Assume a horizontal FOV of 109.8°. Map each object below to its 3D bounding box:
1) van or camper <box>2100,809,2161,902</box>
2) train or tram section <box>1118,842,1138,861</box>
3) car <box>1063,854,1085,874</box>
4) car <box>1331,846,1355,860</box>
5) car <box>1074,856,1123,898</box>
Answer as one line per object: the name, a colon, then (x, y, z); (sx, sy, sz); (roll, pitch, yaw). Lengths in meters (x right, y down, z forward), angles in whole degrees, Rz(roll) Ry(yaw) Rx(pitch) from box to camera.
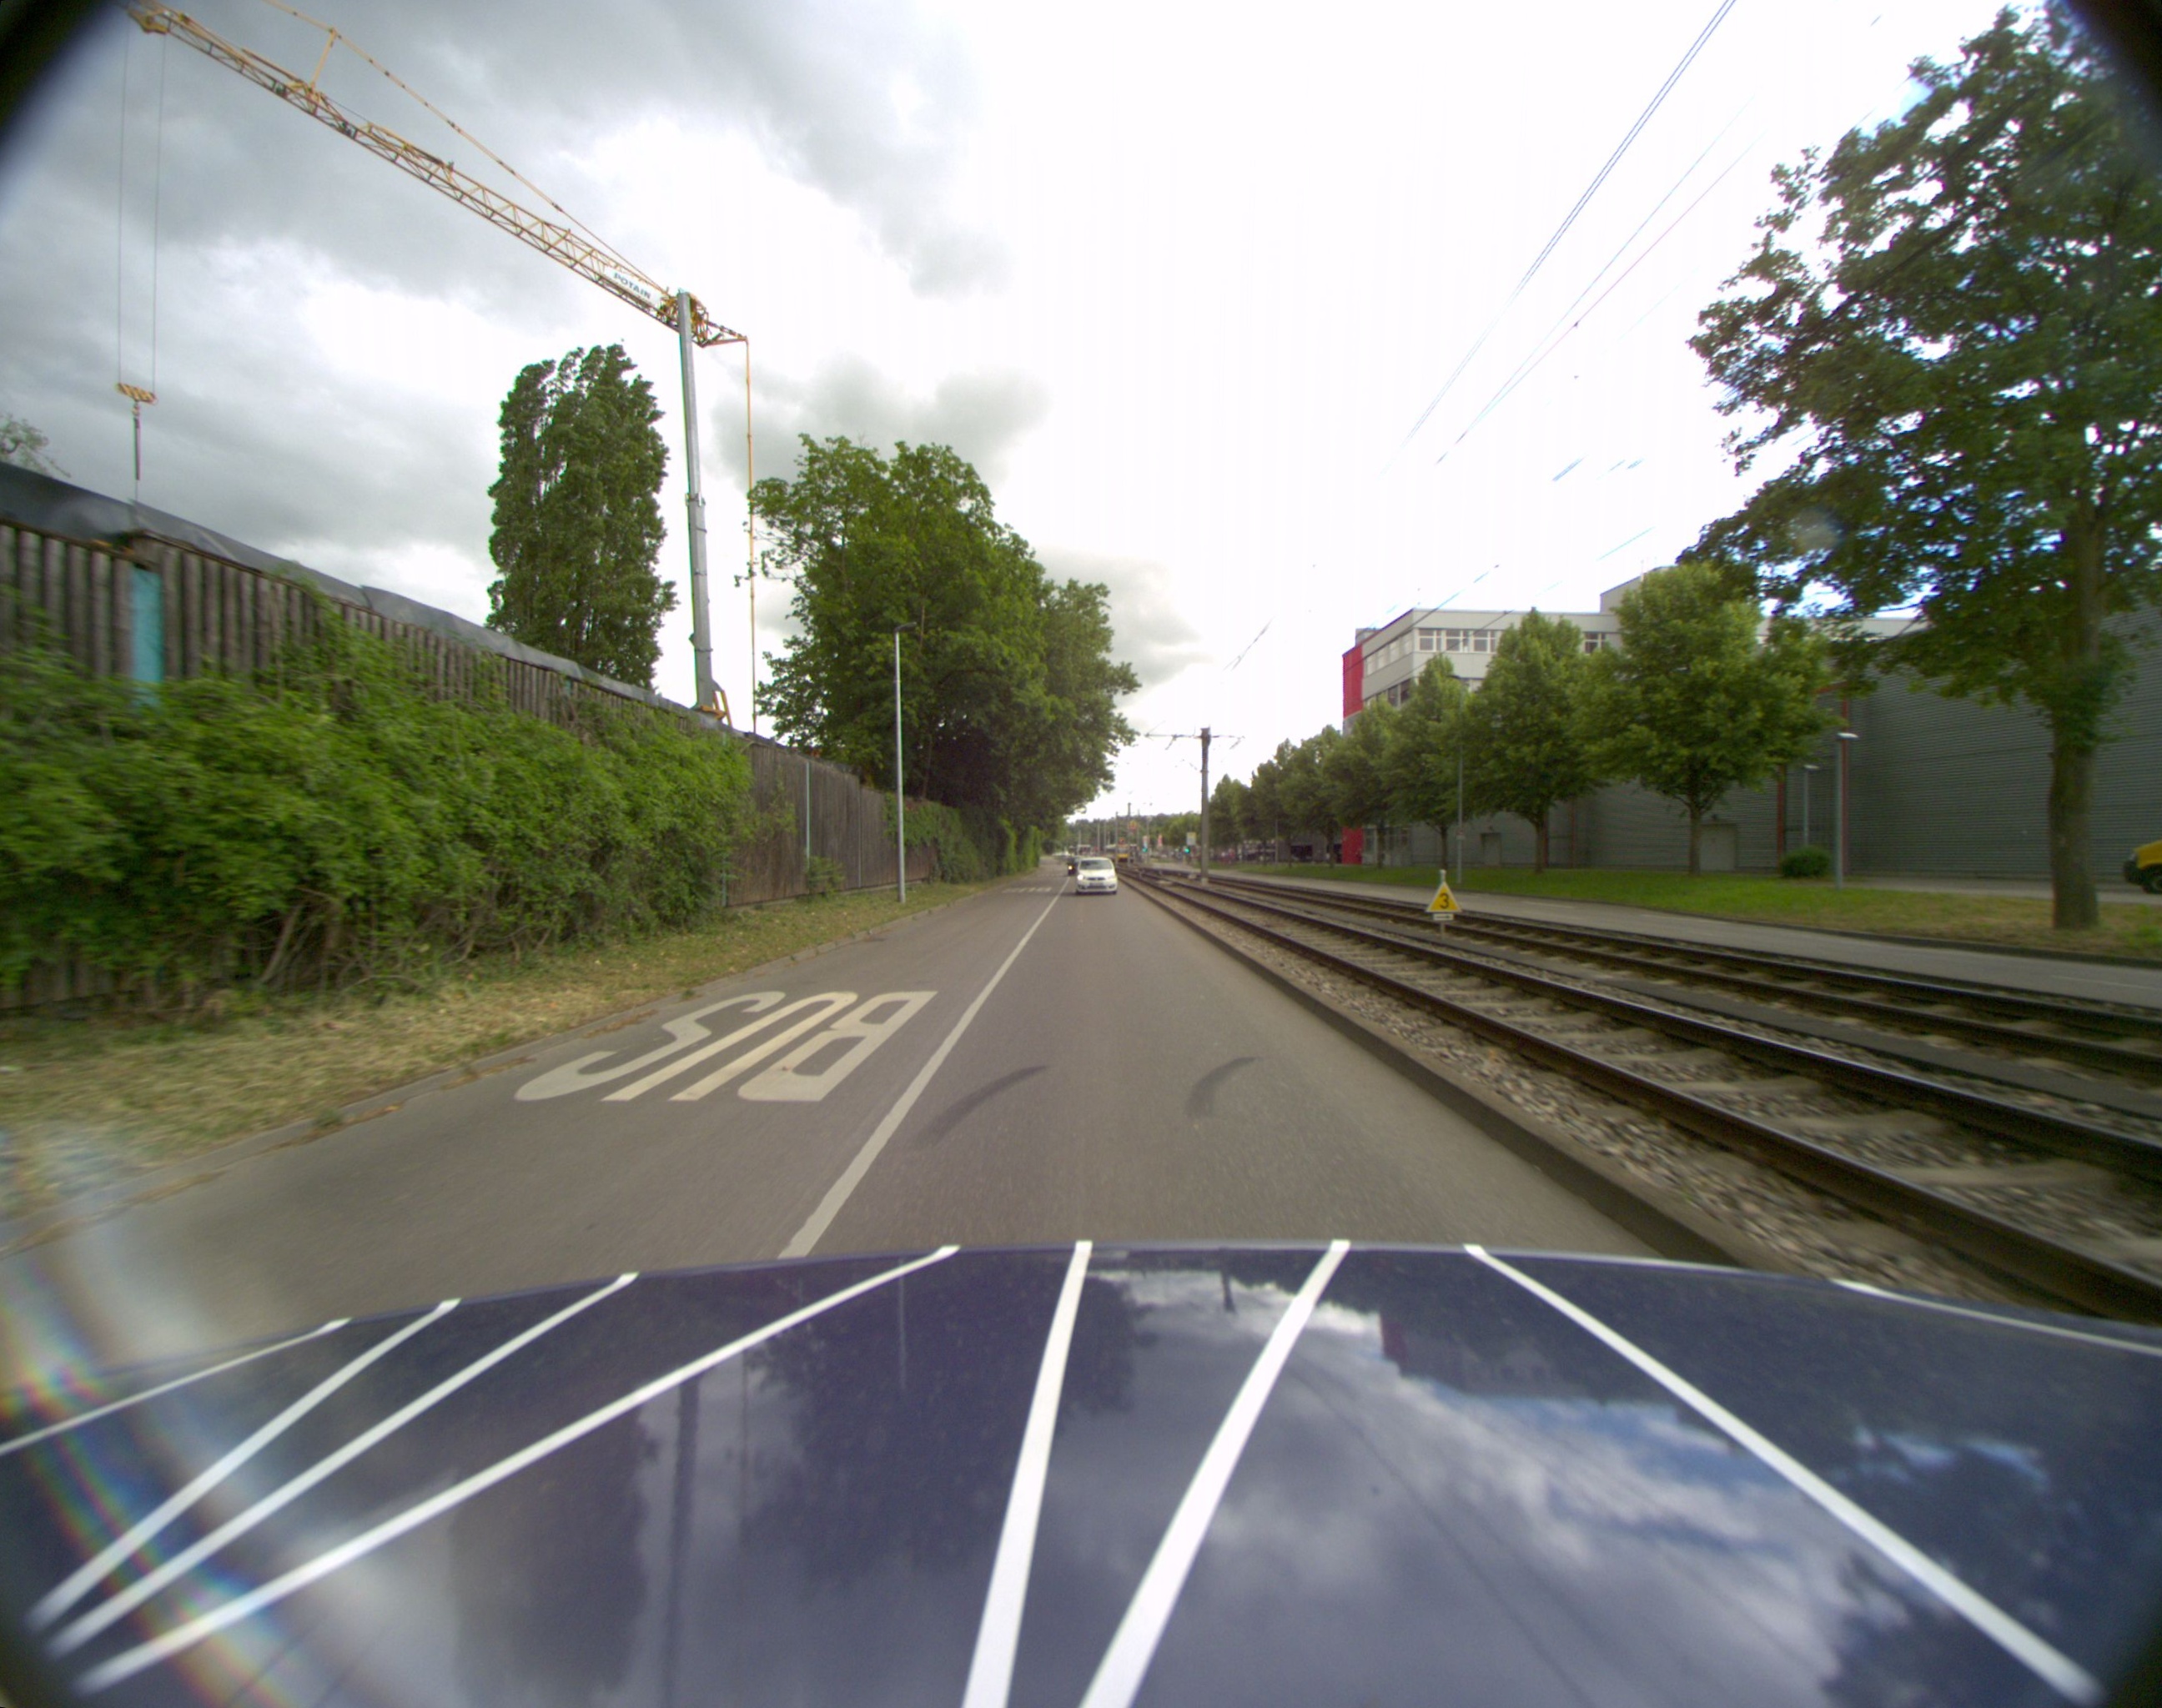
van or camper: (24.355, 0.032, 14.714); (2.109, 2.002, 5.241); (-1, 0, -3)
train or tram section: (9.416, -0.475, 153.904); (2.778, 3.753, 13.784); (-1, 0, -1)
car: (-0.556, 0.801, 62.287); (1.714, 1.586, 4.000); (-1, 0, 1)
car: (39.586, -0.164, 114.999); (1.999, 2.002, 4.404); (-1, 0, -3)
car: (0.651, 0.862, 30.297); (1.765, 1.469, 4.030); (-2, 0, 0)
